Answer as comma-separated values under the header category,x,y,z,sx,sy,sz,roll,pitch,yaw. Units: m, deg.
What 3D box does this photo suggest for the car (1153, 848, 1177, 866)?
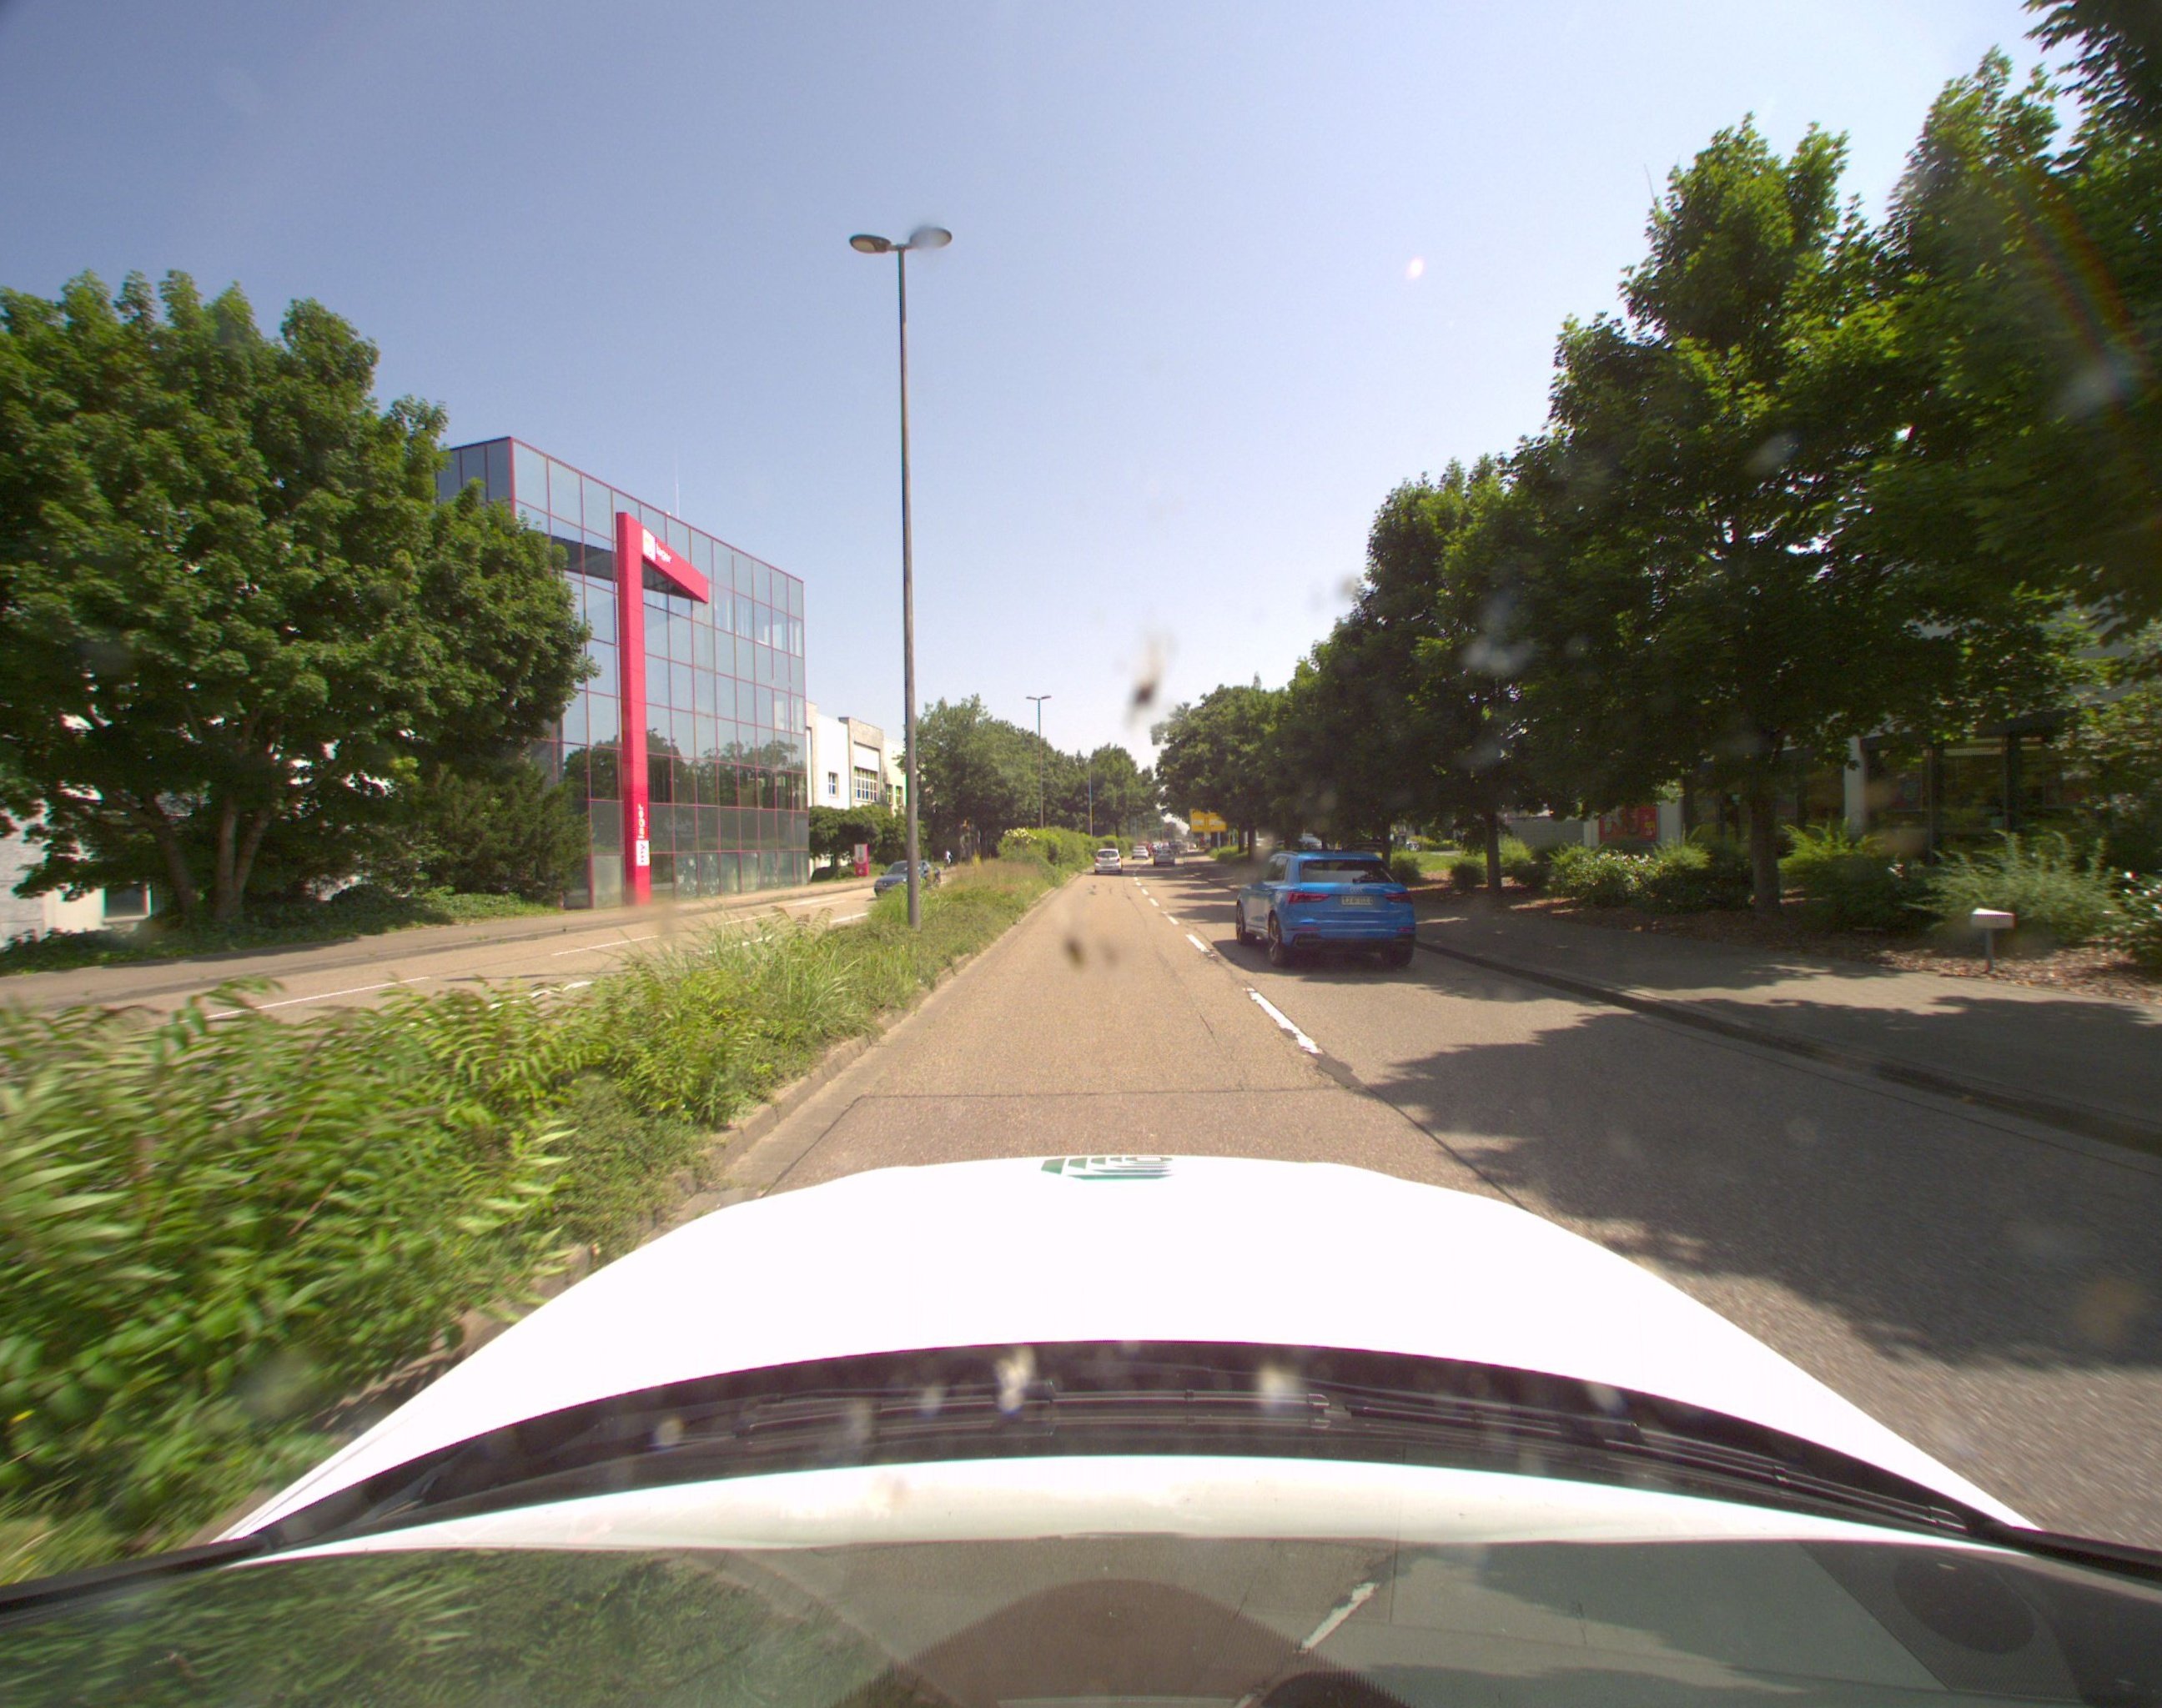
category,x,y,z,sx,sy,sz,roll,pitch,yaw
car,6.863,0.241,66.604,1.857,1.473,4.006,-1,0,5

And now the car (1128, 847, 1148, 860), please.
category,x,y,z,sx,sy,sz,roll,pitch,yaw
car,6.263,-0.084,88.794,1.874,1.354,4.009,-1,0,8

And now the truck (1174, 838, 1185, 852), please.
category,x,y,z,sx,sy,sz,roll,pitch,yaw
truck,27.273,-2.485,225.360,2.916,3.502,9.177,-2,1,7

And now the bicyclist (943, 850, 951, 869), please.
category,x,y,z,sx,sy,sz,roll,pitch,yaw
bicyclist,-10.990,0.464,66.780,0.543,1.509,0.343,-4,0,2

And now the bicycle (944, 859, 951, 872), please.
category,x,y,z,sx,sy,sz,roll,pitch,yaw
bicycle,-10.923,0.948,66.850,0.345,1.067,0.923,-3,0,2

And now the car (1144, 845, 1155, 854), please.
category,x,y,z,sx,sy,sz,roll,pitch,yaw
car,10.077,-0.657,119.497,1.481,1.392,3.309,-1,0,2

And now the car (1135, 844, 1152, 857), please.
category,x,y,z,sx,sy,sz,roll,pitch,yaw
car,8.048,-0.480,104.407,1.874,1.608,4.008,0,0,7

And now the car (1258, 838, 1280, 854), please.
category,x,y,z,sx,sy,sz,roll,pitch,yaw
car,15.862,-0.649,68.880,1.609,1.253,3.775,-1,0,11

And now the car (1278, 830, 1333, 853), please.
category,x,y,z,sx,sy,sz,roll,pitch,yaw
car,15.446,-0.818,56.431,1.902,1.451,5.593,-1,0,-4

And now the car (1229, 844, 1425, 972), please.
category,x,y,z,sx,sy,sz,roll,pitch,yaw
car,3.500,0.684,12.470,1.802,1.593,4.351,-1,0,2

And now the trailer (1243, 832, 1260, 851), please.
category,x,y,z,sx,sy,sz,roll,pitch,yaw
trailer,19.864,-1.464,94.882,1.690,2.055,5.499,-1,1,10

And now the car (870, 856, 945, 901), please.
category,x,y,z,sx,sy,sz,roll,pitch,yaw
car,-6.544,0.882,31.175,1.715,1.416,4.249,-4,0,2

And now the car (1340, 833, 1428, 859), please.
category,x,y,z,sx,sy,sz,roll,pitch,yaw
car,17.951,-0.439,48.455,1.959,1.352,4.670,-3,0,-30

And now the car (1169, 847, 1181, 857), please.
category,x,y,z,sx,sy,sz,roll,pitch,yaw
car,14.113,-0.265,122.586,1.435,1.348,3.462,-3,0,2

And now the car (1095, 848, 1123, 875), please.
category,x,y,z,sx,sy,sz,roll,pitch,yaw
car,1.725,0.457,49.316,1.631,1.552,3.328,-1,0,3
